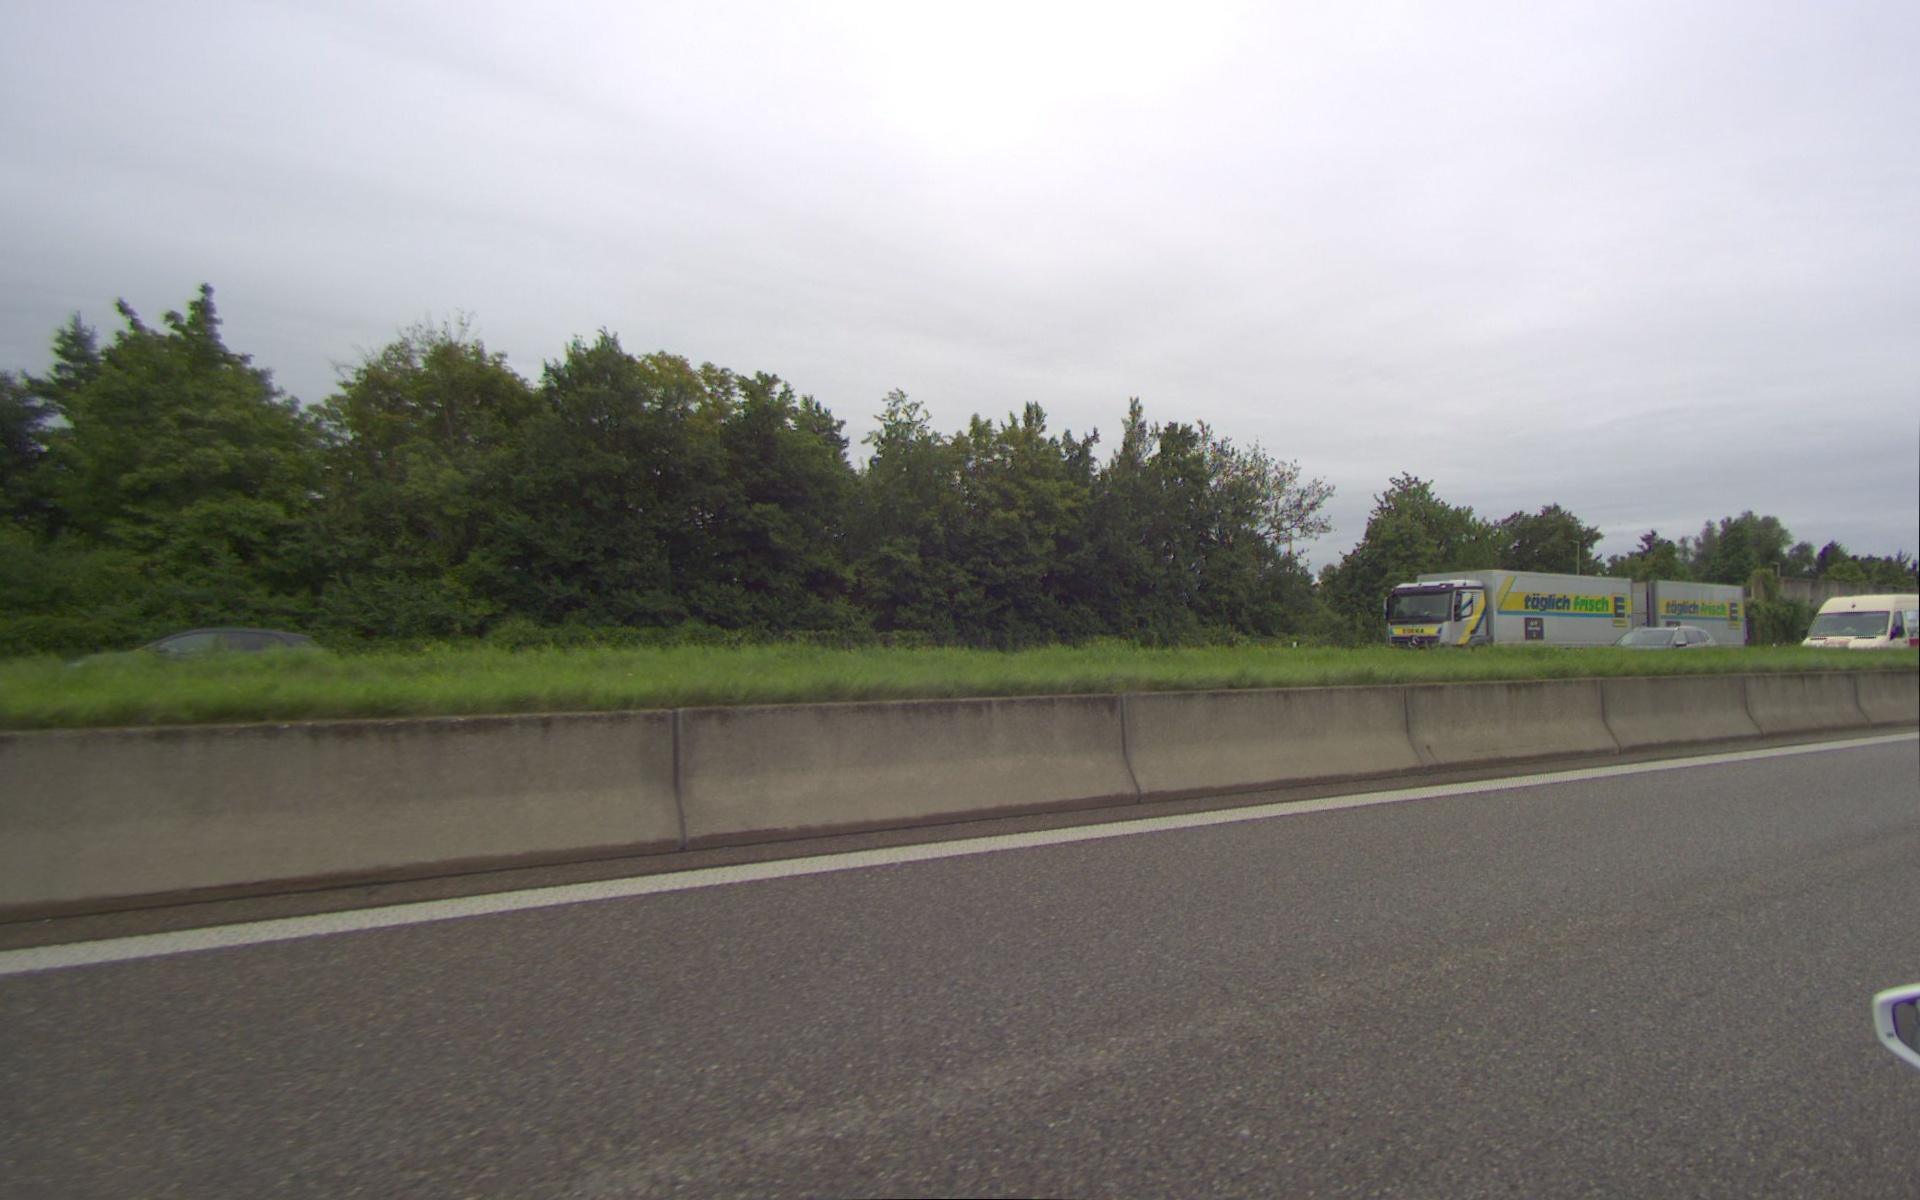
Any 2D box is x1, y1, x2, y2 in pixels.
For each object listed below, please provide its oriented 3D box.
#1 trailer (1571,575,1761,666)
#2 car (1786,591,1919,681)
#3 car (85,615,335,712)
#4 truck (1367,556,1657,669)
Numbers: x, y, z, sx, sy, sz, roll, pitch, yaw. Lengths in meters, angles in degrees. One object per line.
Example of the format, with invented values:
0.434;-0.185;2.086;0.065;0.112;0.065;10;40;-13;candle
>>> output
26.668;0.808;37.847;7.779;3.118;2.764;2;0;-30;trailer
27.472;1.083;29.924;7.239;2.417;2.048;2;0;-31;car
-15.498;1.288;21.072;3.955;1.818;1.983;2;0;-31;car
18.392;0.509;33.062;11.223;3.264;2.871;2;0;-30;truck
